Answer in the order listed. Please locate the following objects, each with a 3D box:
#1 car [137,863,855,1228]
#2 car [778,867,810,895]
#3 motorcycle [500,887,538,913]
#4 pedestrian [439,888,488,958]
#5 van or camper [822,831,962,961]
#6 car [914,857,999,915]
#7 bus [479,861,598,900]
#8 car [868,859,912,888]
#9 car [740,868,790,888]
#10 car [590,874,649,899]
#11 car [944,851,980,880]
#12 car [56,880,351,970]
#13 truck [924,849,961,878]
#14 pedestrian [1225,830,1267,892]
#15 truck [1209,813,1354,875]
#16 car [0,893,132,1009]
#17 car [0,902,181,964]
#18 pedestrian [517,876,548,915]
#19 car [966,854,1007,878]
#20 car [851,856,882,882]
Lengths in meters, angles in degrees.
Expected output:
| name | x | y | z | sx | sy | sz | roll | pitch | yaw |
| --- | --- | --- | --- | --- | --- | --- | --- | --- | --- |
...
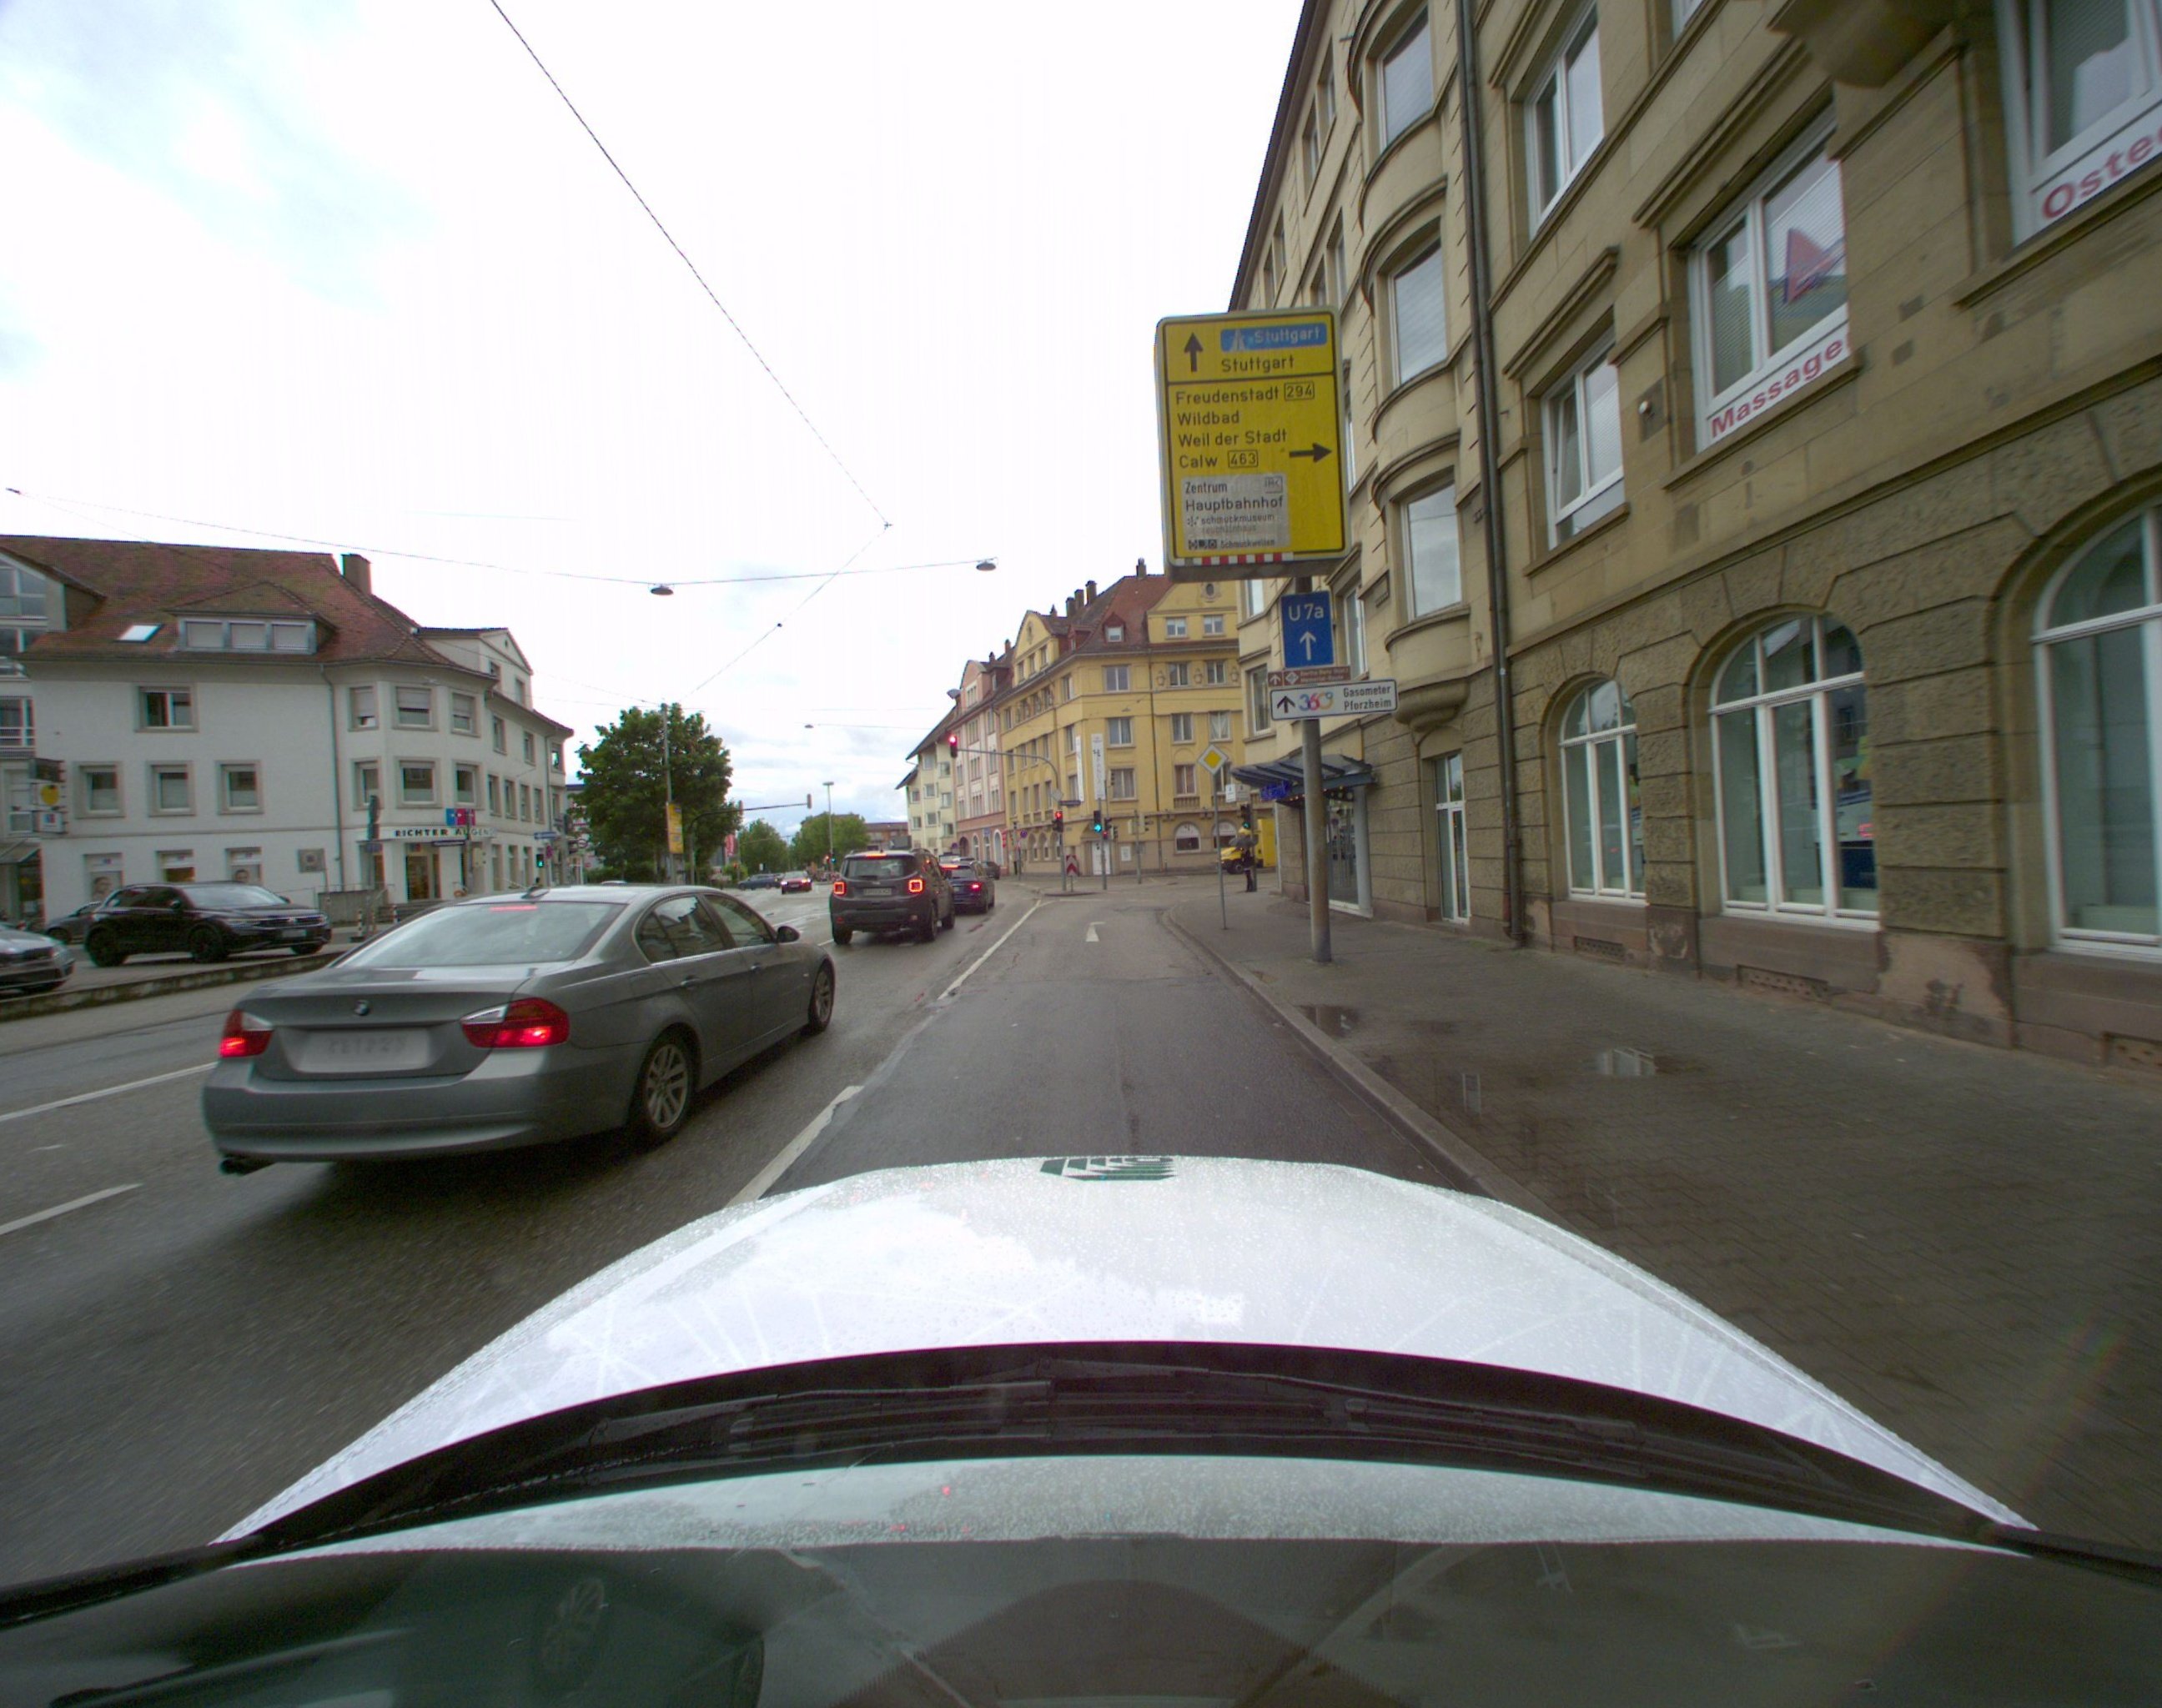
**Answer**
| name | x | y | z | sx | sy | sz | roll | pitch | yaw |
| --- | --- | --- | --- | --- | --- | --- | --- | --- | --- |
| car | -3.062 | 0.824 | 5.613 | 1.794 | 1.464 | 4.369 | -1 | 0 | -1 |
| car | -19.330 | 1.784 | 54.751 | 1.851 | 1.684 | 3.972 | -2 | 0 | -21 |
| motorcycle | -29.134 | 2.351 | 42.239 | 0.720 | 1.178 | 2.576 | -3 | 0 | -14 |
| pedestrian | -14.032 | 1.546 | 18.510 | 0.763 | 1.529 | 0.505 | -1 | -1 | -20 |
| van or camper | -3.543 | 0.720 | 16.065 | 1.850 | 2.146 | 4.139 | -3 | 0 | -2 |
| car | -3.374 | 0.833 | 22.815 | 1.799 | 1.406 | 4.679 | -2 | -1 | -3 |
| bus | -52.275 | 2.522 | 78.669 | 9.095 | 3.104 | 2.915 | 3 | 1 | -4 |
| car | -13.311 | 1.349 | 56.685 | 2.005 | 1.816 | 3.964 | -3 | 0 | -27 |
| car | -30.369 | 2.318 | 78.344 | 3.961 | 1.750 | 2.007 | -2 | 0 | 11 |
| car | -40.243 | 2.804 | 71.141 | 3.993 | 1.881 | 1.816 | -4 | 1 | -14 |
| car | -9.578 | 0.880 | 65.242 | 1.770 | 2.180 | 3.967 | -2 | 0 | -25 |
| car | -18.041 | 1.427 | 16.847 | 4.391 | 1.506 | 1.959 | -3 | 0 | 9 |
| truck | -11.976 | 0.793 | 70.347 | 2.036 | 2.389 | 4.202 | -2 | 0 | -25 |
| pedestrian | 5.333 | 0.222 | 26.315 | 1.048 | 1.903 | 1.030 | -3 | 0 | 22 |
| truck | 10.551 | -0.509 | 43.138 | 7.069 | 2.851 | 2.082 | -3 | -1 | 0 |
| car | -17.128 | 1.494 | 11.922 | 4.425 | 1.526 | 1.888 | -3 | 0 | 4 |
| car | -36.513 | 2.861 | 29.959 | 4.002 | 1.815 | 1.986 | -3 | 0 | -21 |
| pedestrian | -25.206 | 1.906 | 37.453 | 0.967 | 1.708 | 0.927 | -3 | 0 | -25 |
| car | -6.855 | 0.820 | 58.700 | 1.887 | 1.637 | 3.969 | -1 | 1 | -24 |
| car | -18.067 | 1.245 | 68.532 | 2.001 | 2.013 | 3.972 | -3 | 0 | -21 |
